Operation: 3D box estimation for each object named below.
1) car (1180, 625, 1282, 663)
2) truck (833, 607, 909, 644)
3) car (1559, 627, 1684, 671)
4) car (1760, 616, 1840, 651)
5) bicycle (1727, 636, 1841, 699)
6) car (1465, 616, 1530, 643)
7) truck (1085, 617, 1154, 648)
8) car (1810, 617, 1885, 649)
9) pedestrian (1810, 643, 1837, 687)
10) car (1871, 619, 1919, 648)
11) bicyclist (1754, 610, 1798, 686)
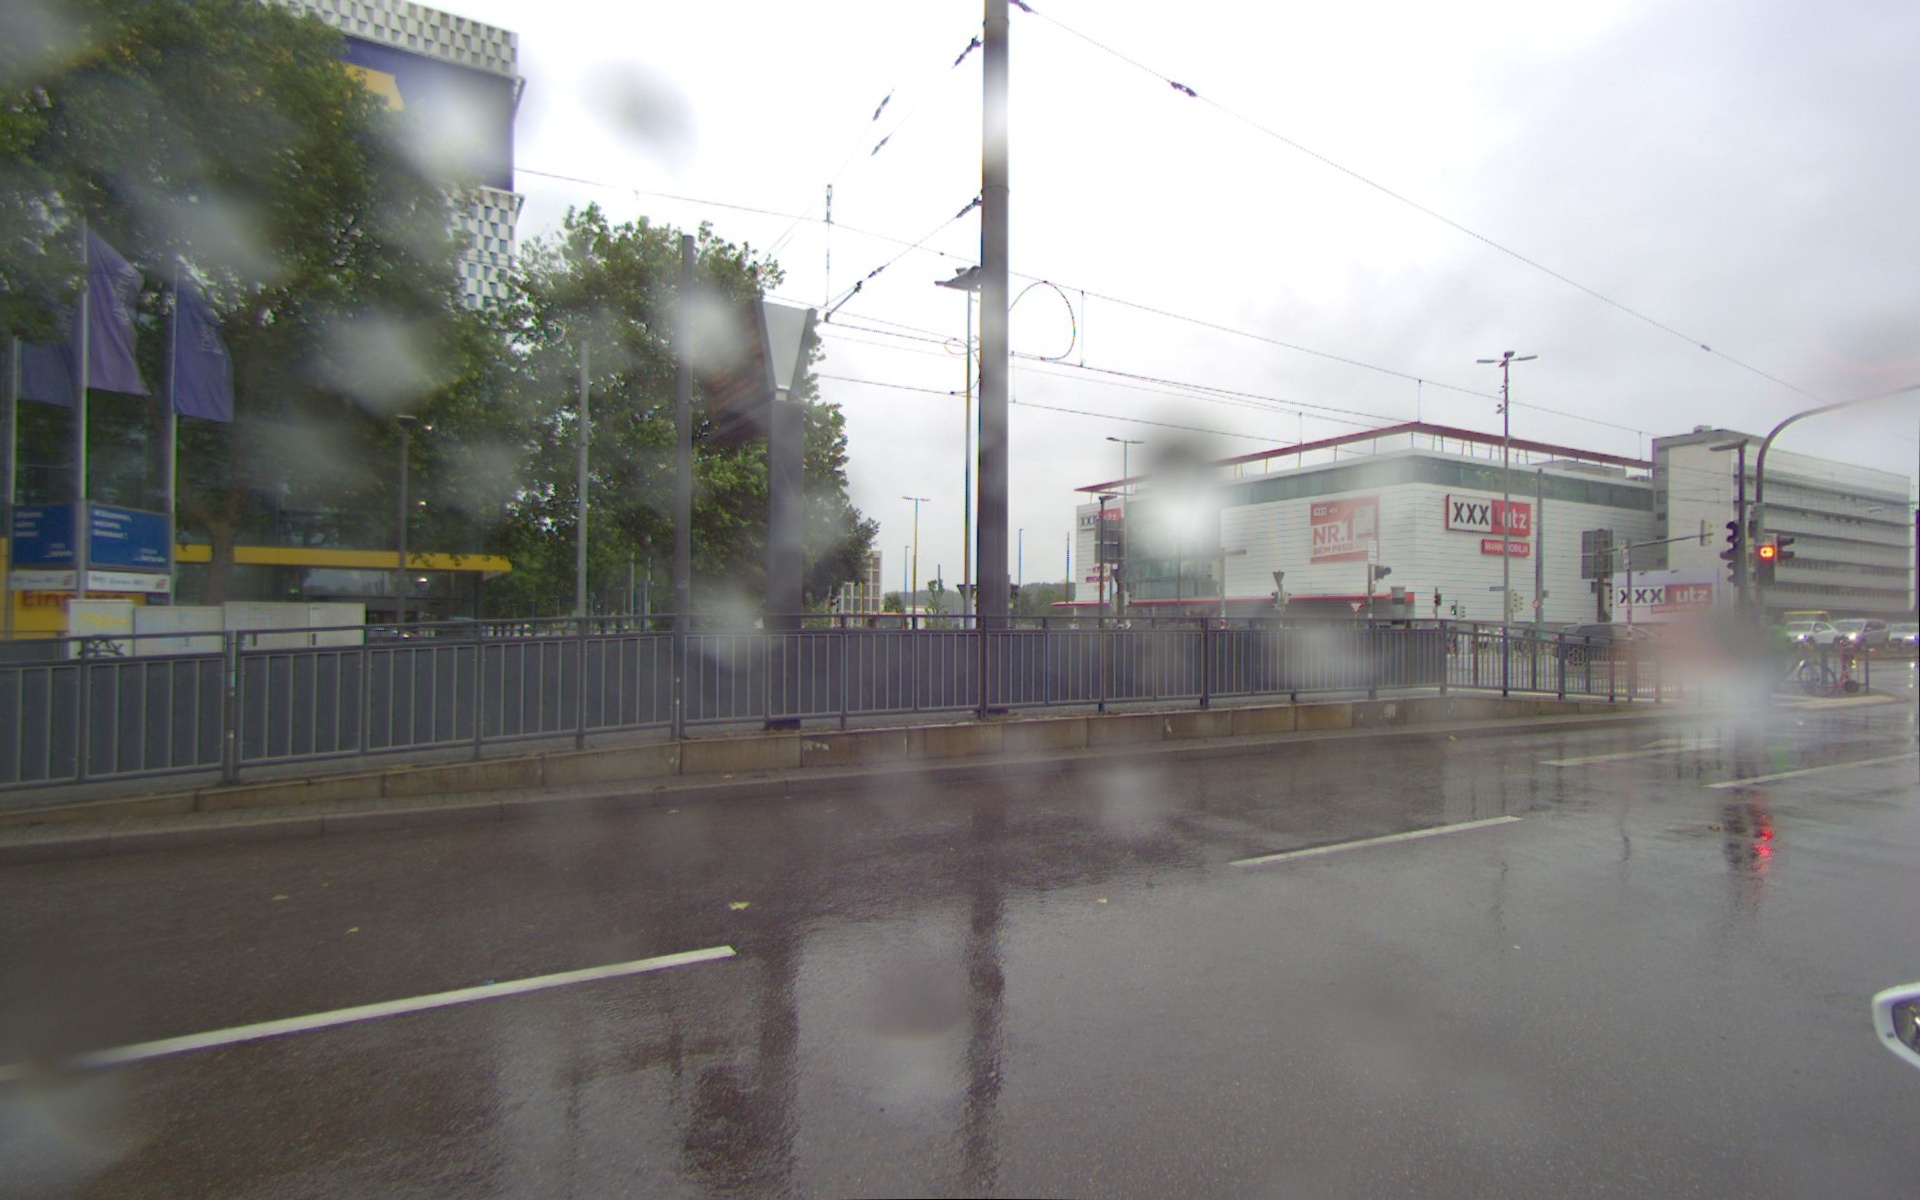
[{"bbox_3d":[11.945,1.920,44.404,4.002,1.394,1.600,3,1,40],"label":"car"},{"bbox_3d":[-6.566,1.823,72.952,2.445,2.240,7.329,3,1,-31],"label":"truck"},{"bbox_3d":[22.564,1.637,34.330,3.478,1.223,1.436,3,1,35],"label":"car"},{"bbox_3d":[39.820,1.585,47.623,3.765,1.445,1.702,3,1,-30],"label":"car"},{"bbox_3d":[16.871,1.351,20.594,0.516,1.153,1.736,1,1,-44],"label":"bicycle"},{"bbox_3d":[30.370,1.676,56.765,3.765,1.372,1.471,3,1,-30],"label":"car"},{"bbox_3d":[12.399,2.504,78.449,1.990,1.968,5.847,3,1,-31],"label":"truck"},{"bbox_3d":[44.799,1.665,50.677,3.765,1.445,1.702,3,1,-30],"label":"car"},{"bbox_3d":[18.496,1.390,21.521,0.376,0.909,0.313,1,2,-32],"label":"pedestrian"},{"bbox_3d":[50.977,1.820,54.272,3.527,1.445,1.552,3,1,-30],"label":"car"},{"bbox_3d":[16.822,0.975,20.696,0.596,1.511,0.597,1,1,-44],"label":"bicyclist"}]
